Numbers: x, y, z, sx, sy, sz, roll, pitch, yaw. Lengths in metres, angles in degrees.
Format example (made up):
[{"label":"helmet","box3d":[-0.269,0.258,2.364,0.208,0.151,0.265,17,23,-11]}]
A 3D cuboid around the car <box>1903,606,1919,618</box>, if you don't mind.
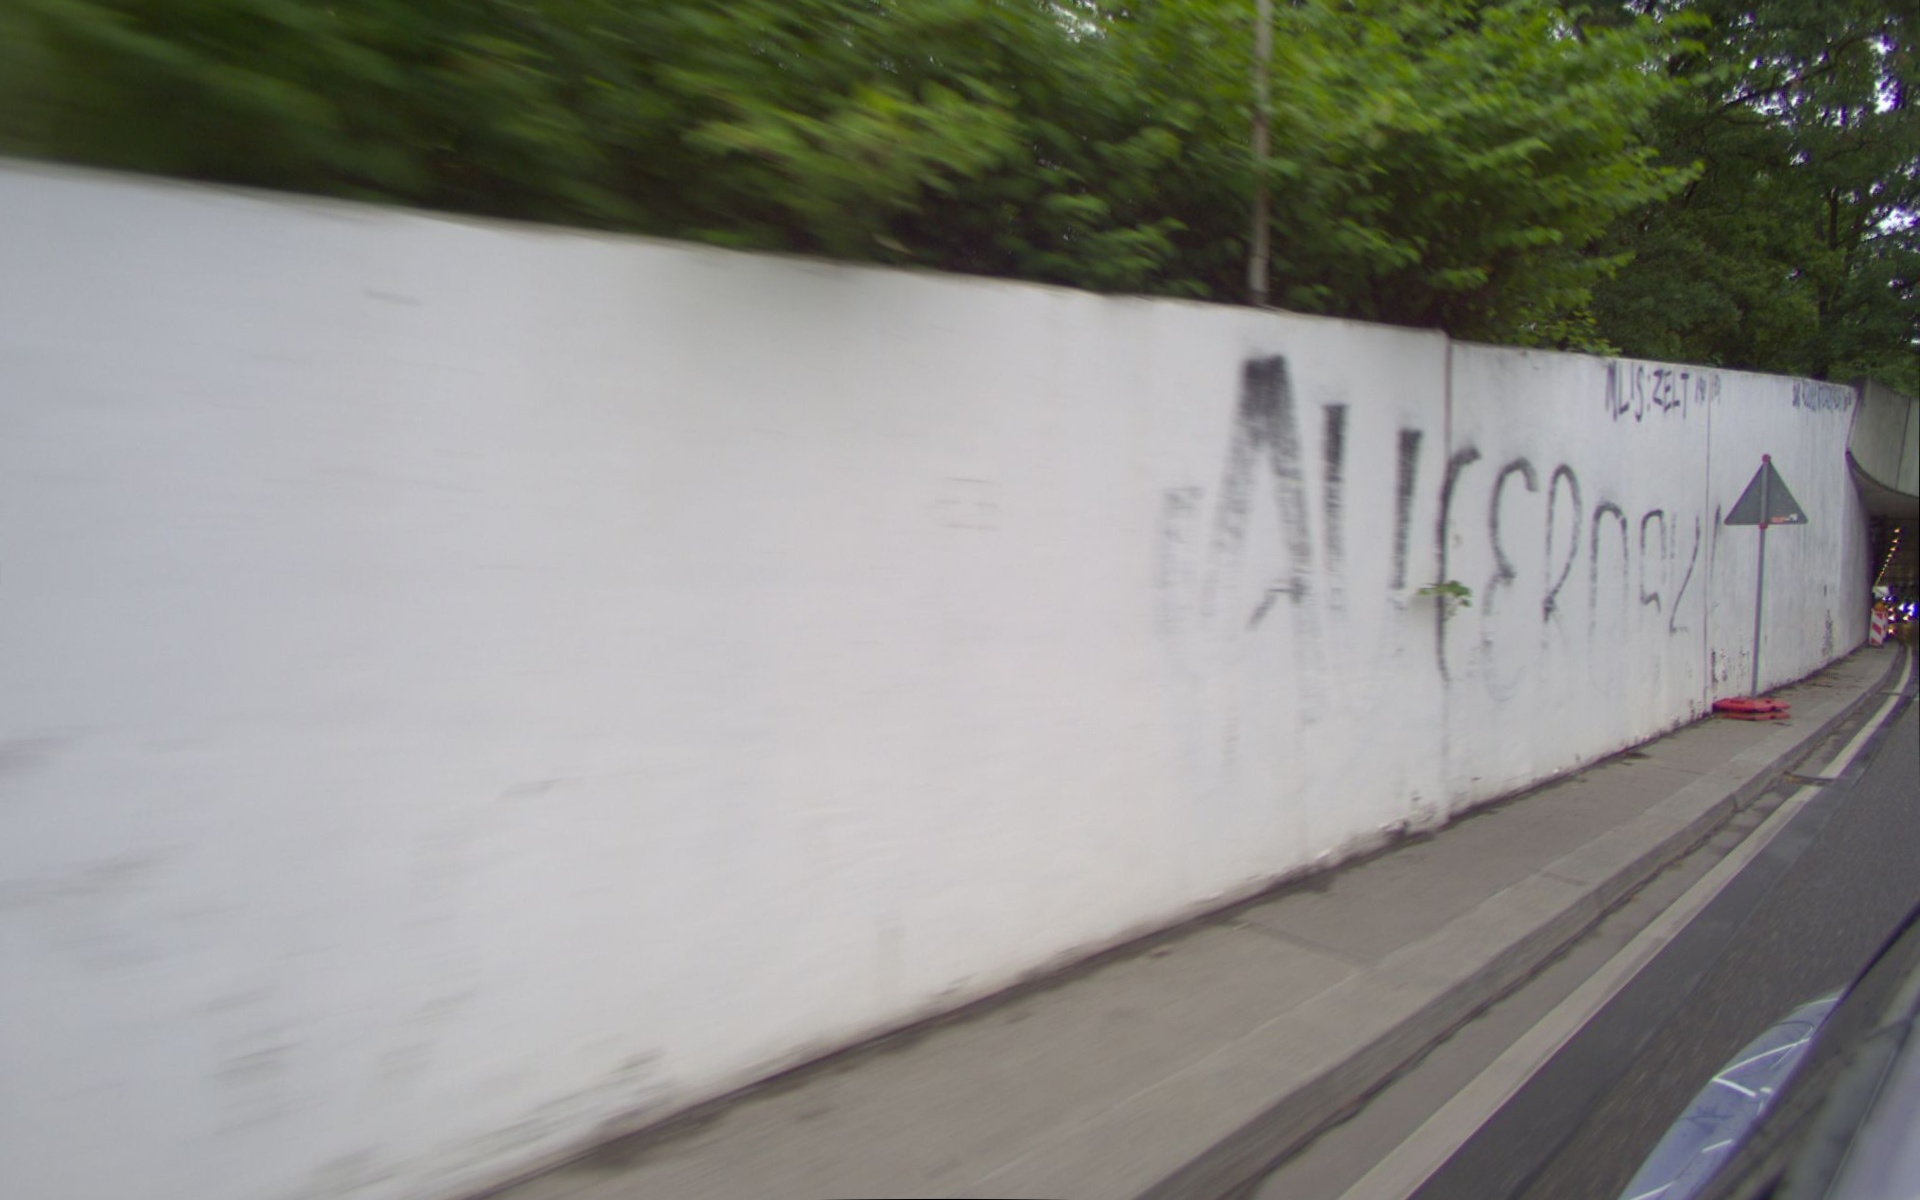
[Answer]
[{"label":"car","box3d":[122.750,1.570,130.406,1.693,1.323,3.768,3,3,41]}]
